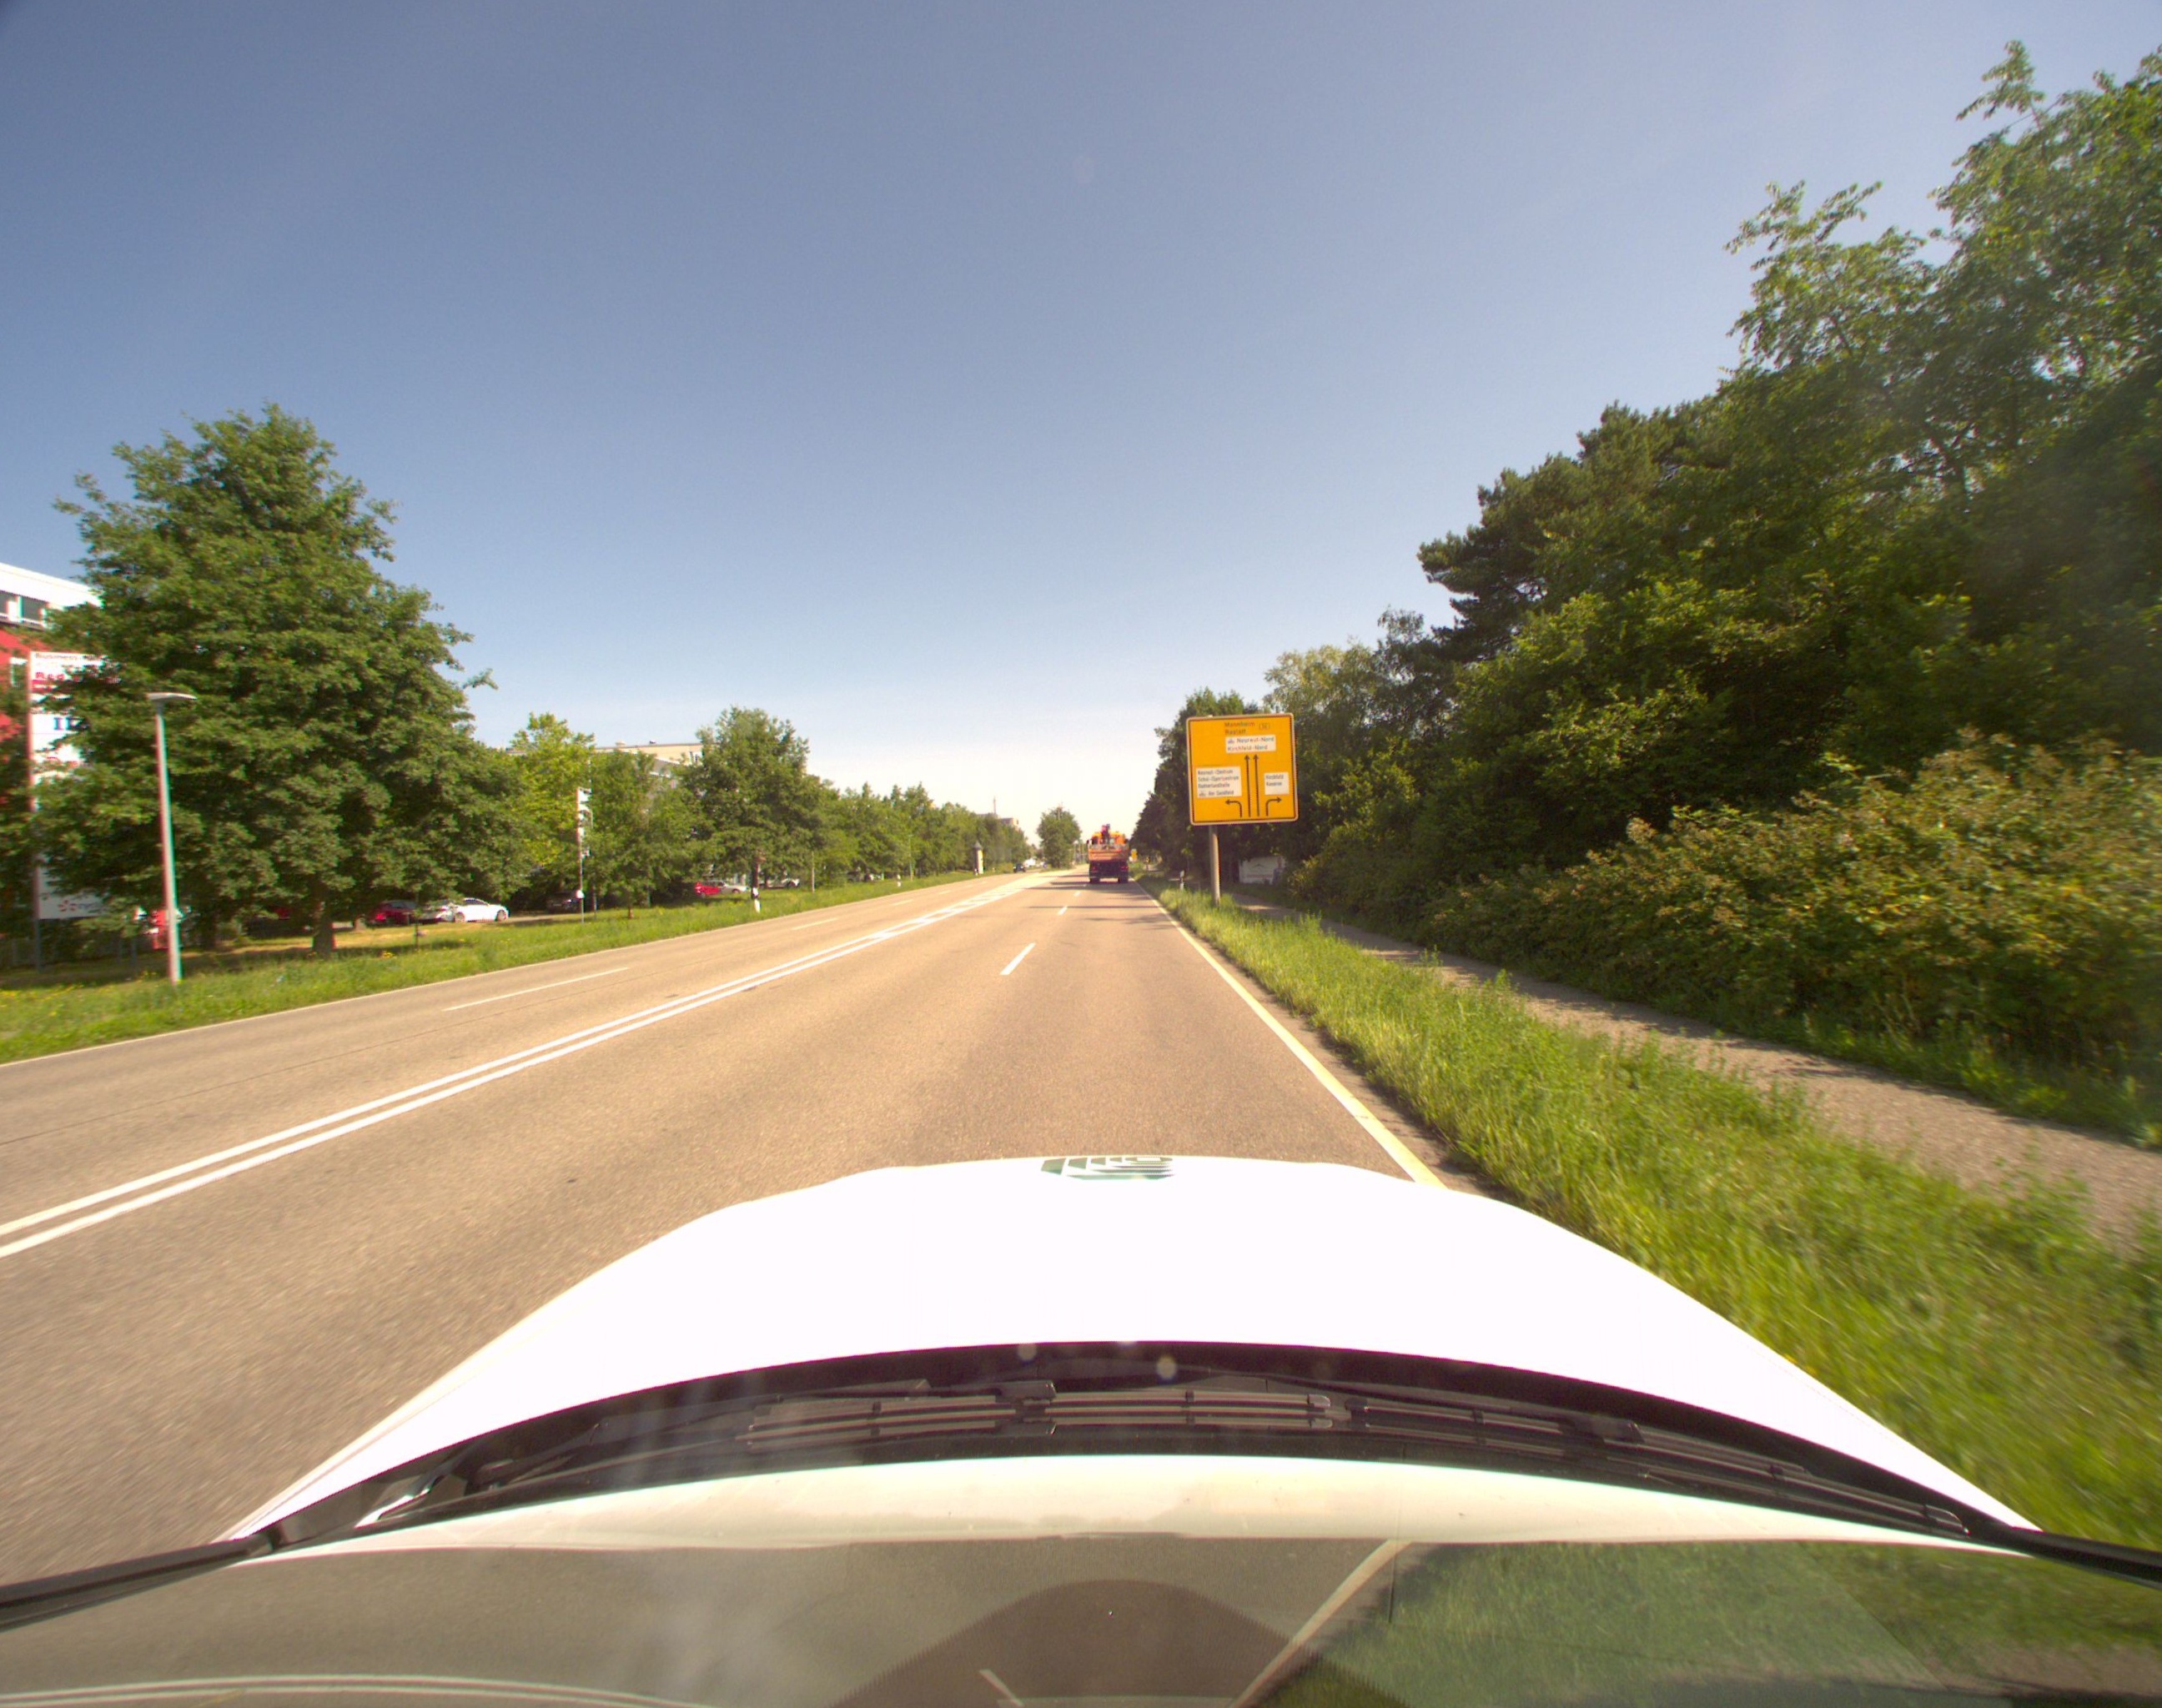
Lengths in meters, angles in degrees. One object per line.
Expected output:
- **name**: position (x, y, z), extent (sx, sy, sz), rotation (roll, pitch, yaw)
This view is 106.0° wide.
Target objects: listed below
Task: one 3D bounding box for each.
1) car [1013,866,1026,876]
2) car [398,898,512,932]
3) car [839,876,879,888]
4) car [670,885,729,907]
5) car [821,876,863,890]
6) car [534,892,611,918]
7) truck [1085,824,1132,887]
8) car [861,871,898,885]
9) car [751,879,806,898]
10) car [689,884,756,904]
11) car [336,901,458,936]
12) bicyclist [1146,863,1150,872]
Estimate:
- **car**: position (-10.831, 3.033, 142.675), extent (1.794, 1.572, 4.001), rotation (-3, -1, 2)
- **car**: position (-33.243, 3.215, 43.458), extent (1.985, 1.437, 4.959), rotation (-2, -1, 4)
- **car**: position (-29.053, 3.667, 106.531), extent (4.578, 1.437, 2.001), rotation (-2, -1, 1)
- **car**: position (-28.743, 3.130, 61.530), extent (1.984, 1.437, 4.615), rotation (-2, -1, 4)
- **car**: position (-29.339, 3.593, 100.094), extent (4.578, 1.437, 2.001), rotation (-2, -1, 1)
- **car**: position (-33.242, 3.308, 53.429), extent (1.986, 1.437, 4.612), rotation (-2, -1, 2)
- **truck**: position (1.707, 0.122, 53.623), extent (2.862, 3.880, 7.398), rotation (0, -1, 0)
- **car**: position (-27.933, 3.336, 113.175), extent (4.512, 1.758, 2.003), rotation (-3, -1, 4)
- **car**: position (-29.476, 3.352, 79.494), extent (4.578, 1.650, 2.001), rotation (-2, -1, 1)
- **car**: position (-29.663, 3.289, 67.490), extent (4.578, 1.437, 2.001), rotation (-2, -1, 1)
- **car**: position (-35.858, 3.331, 42.930), extent (1.985, 1.437, 4.959), rotation (-2, -1, 4)
- **bicyclist**: position (12.555, 2.517, 153.187), extent (0.556, 1.558, 0.558), rotation (-3, -1, 1)
